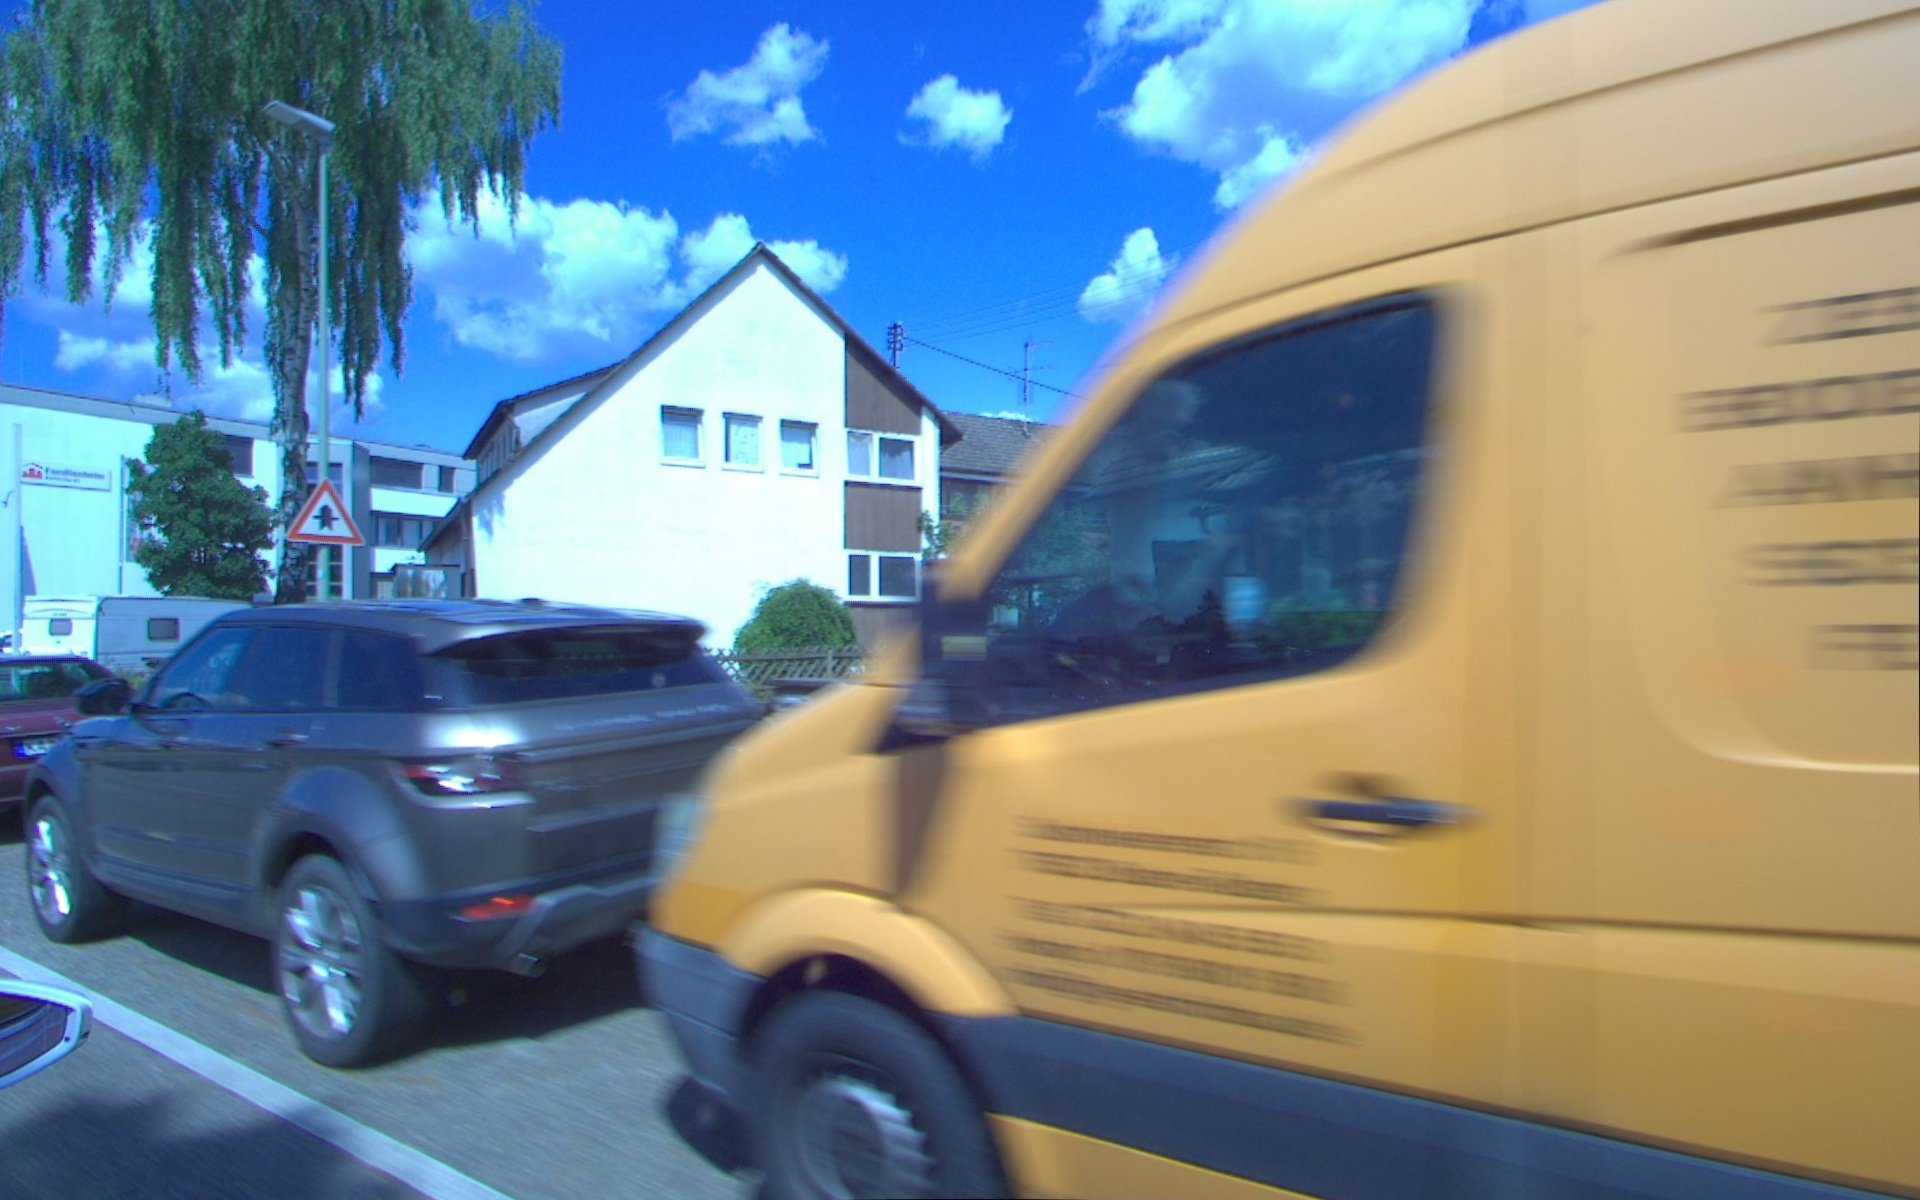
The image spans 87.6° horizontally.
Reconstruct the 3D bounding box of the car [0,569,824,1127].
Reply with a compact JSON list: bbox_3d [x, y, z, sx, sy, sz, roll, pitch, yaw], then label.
[{"bbox_3d":[-2.859,0.788,4.886,4.179,1.661,1.829,-1,-1,32],"label":"car"}]

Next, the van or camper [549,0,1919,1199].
[{"bbox_3d":[1.860,0.213,2.064,5.684,2.698,1.991,-1,-1,31],"label":"van or camper"}]

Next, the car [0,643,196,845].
[{"bbox_3d":[-8.362,1.065,8.415,4.374,1.352,1.666,-1,-2,32],"label":"car"}]

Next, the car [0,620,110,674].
[{"bbox_3d":[-32.429,1.641,34.780,4.361,1.774,1.851,1,-4,-40],"label":"car"}]

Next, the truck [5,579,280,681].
[{"bbox_3d":[-23.060,0.864,28.720,2.516,2.610,6.061,0,-2,6],"label":"truck"}]
